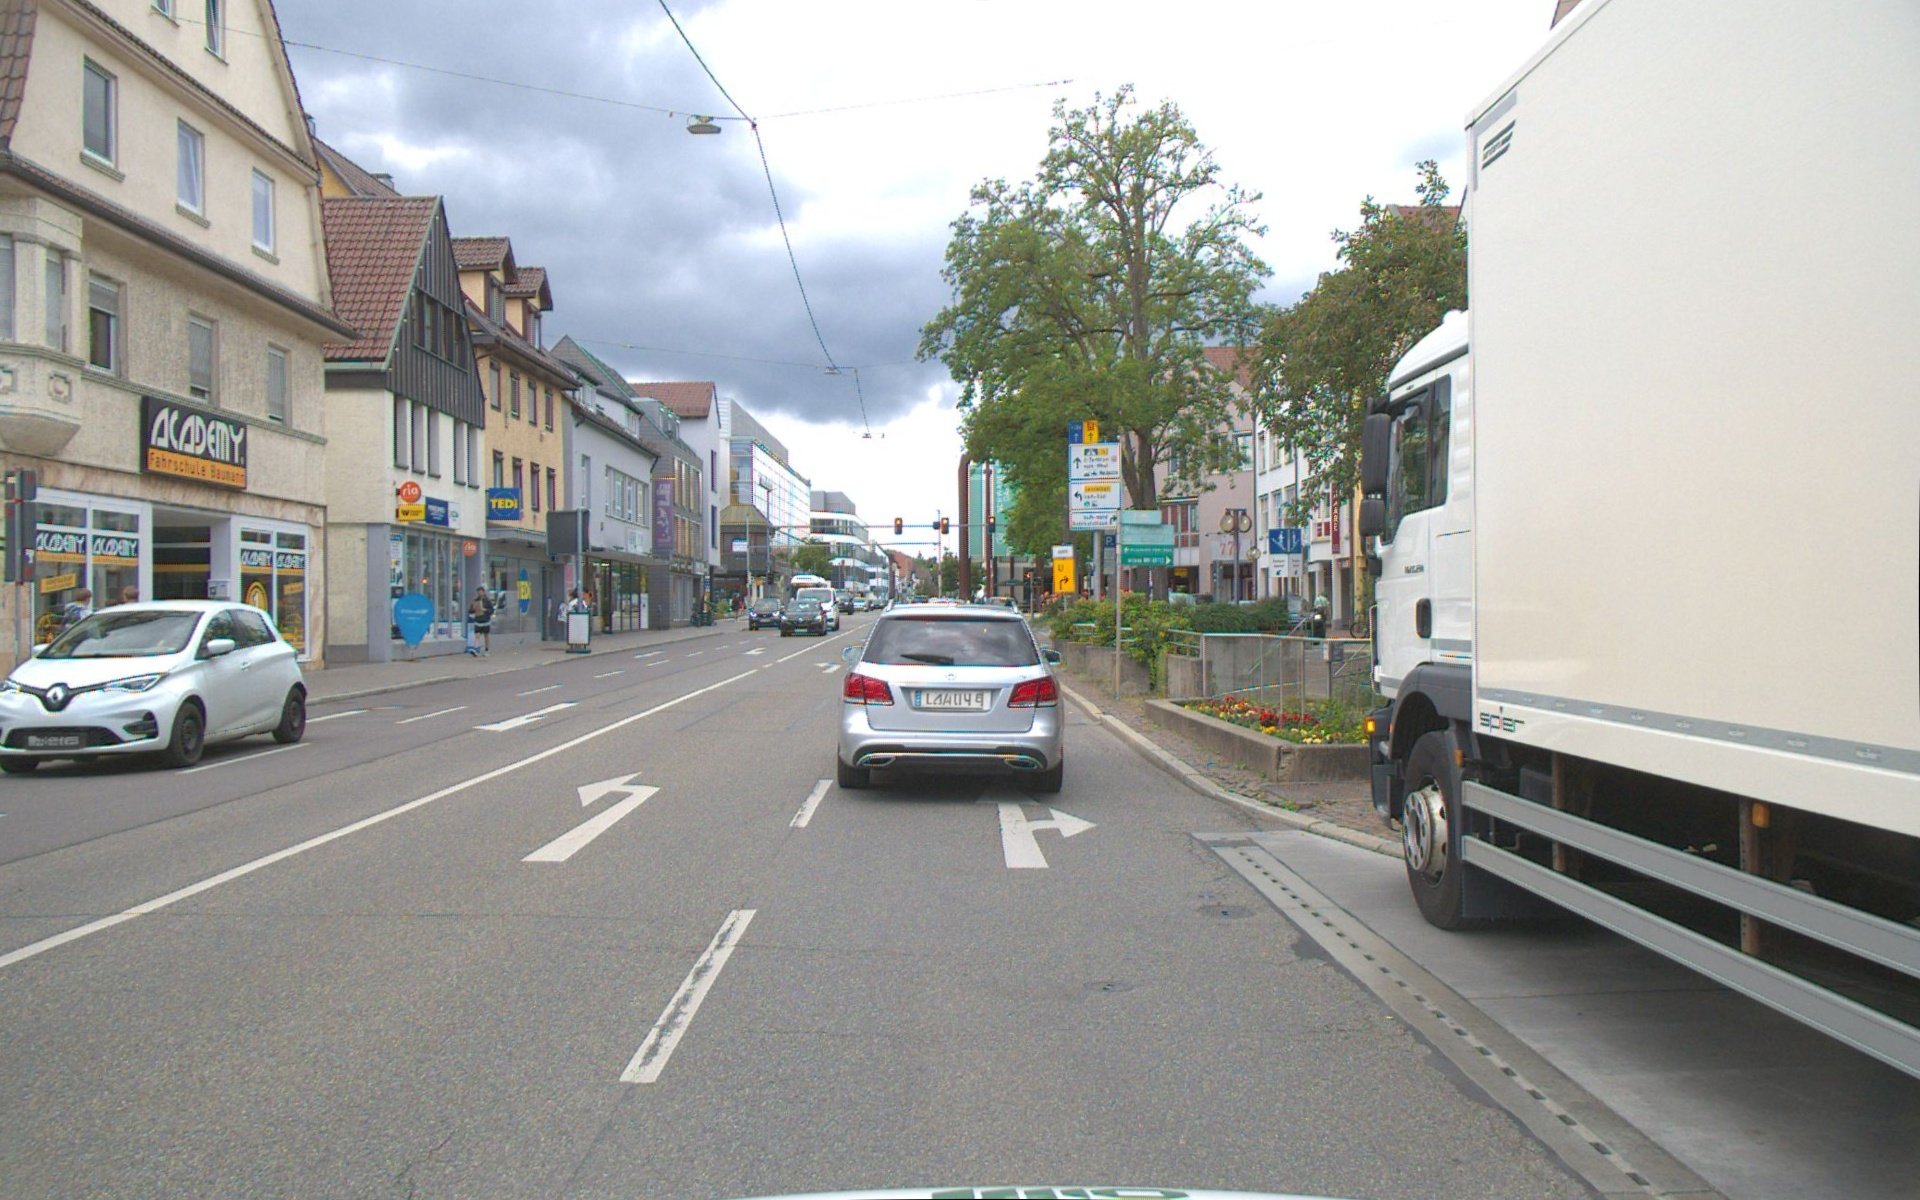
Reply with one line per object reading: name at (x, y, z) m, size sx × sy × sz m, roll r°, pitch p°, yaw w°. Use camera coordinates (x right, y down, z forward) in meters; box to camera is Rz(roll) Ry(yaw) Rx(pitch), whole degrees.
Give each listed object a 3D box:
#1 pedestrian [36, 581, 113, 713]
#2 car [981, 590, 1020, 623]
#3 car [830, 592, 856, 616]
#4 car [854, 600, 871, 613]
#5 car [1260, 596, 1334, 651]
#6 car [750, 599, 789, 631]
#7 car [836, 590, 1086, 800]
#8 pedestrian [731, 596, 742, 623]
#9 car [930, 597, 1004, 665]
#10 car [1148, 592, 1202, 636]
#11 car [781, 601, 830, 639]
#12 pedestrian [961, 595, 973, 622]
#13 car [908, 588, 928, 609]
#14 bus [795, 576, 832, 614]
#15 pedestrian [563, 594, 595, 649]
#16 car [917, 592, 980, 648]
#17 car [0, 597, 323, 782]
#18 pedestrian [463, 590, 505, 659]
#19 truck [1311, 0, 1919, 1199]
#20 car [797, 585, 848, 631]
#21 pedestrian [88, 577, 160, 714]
pedestrian at (-12.288, 0.644, 22.972) m, size 0.673 × 1.792 × 0.680 m, roll -1°, pitch 0°, yaw -1°
car at (2.165, 0.329, 89.264) m, size 1.953 × 1.713 × 3.999 m, roll 0°, pitch 0°, yaw -1°
car at (-10.183, 0.353, 144.131) m, size 1.953 × 2.049 × 4.000 m, roll 0°, pitch 0°, yaw 0°
car at (-10.022, 0.687, 170.858) m, size 1.542 × 1.266 × 3.606 m, roll 0°, pitch 0°, yaw 0°
car at (12.284, 0.830, 60.483) m, size 1.828 × 1.897 × 3.999 m, roll 0°, pitch 0°, yaw -1°
car at (-9.555, 0.739, 83.269) m, size 1.584 × 1.550 × 3.507 m, roll -2°, pitch 0°, yaw -1°
car at (-0.079, 0.697, 14.103) m, size 1.837 × 1.532 × 3.998 m, roll 0°, pitch 0°, yaw -3°
pedestrian at (-13.930, 0.608, 103.211) m, size 0.574 × 1.663 × 0.614 m, roll 2°, pitch 0°, yaw -3°
car at (0.141, 0.734, 40.485) m, size 1.719 × 1.547 × 3.999 m, roll -1°, pitch 0°, yaw -1°
car at (9.488, 0.596, 73.241) m, size 1.828 × 1.897 × 4.000 m, roll 0°, pitch 0°, yaw 0°
car at (-6.170, 0.788, 66.382) m, size 1.584 × 1.453 × 3.922 m, roll -1°, pitch 0°, yaw 0°
pedestrian at (0.456, 0.552, 104.921) m, size 0.602 × 1.663 × 0.587 m, roll 2°, pitch 0°, yaw -10°
car at (-4.231, -0.144, 167.345) m, size 1.953 × 2.049 × 3.999 m, roll 0°, pitch 0°, yaw -1°
bus at (-12.871, -0.409, 145.385) m, size 2.718 × 3.220 × 5.932 m, roll 0°, pitch 0°, yaw 0°
pedestrian at (-11.836, 0.653, 51.370) m, size 0.801 × 1.663 × 0.979 m, roll 1°, pitch 0°, yaw -6°
car at (-0.360, 0.620, 53.511) m, size 1.953 × 1.713 × 3.999 m, roll 0°, pitch 0°, yaw -1°
car at (-7.896, 0.795, 16.523) m, size 1.607 × 1.595 × 3.925 m, roll -1°, pitch 0°, yaw -2°
pedestrian at (-12.569, 0.635, 43.708) m, size 0.850 × 1.777 × 0.805 m, roll 2°, pitch 0°, yaw -6°
truck at (3.383, -0.429, 4.406) m, size 2.634 × 3.623 × 9.764 m, roll 0°, pitch 0°, yaw -1°
car at (-6.304, 0.376, 76.355) m, size 1.921 × 1.995 × 5.139 m, roll -2°, pitch 0°, yaw -1°
pedestrian at (-11.576, 0.618, 22.908) m, size 0.620 × 1.856 × 0.680 m, roll -1°, pitch 0°, yaw -1°
